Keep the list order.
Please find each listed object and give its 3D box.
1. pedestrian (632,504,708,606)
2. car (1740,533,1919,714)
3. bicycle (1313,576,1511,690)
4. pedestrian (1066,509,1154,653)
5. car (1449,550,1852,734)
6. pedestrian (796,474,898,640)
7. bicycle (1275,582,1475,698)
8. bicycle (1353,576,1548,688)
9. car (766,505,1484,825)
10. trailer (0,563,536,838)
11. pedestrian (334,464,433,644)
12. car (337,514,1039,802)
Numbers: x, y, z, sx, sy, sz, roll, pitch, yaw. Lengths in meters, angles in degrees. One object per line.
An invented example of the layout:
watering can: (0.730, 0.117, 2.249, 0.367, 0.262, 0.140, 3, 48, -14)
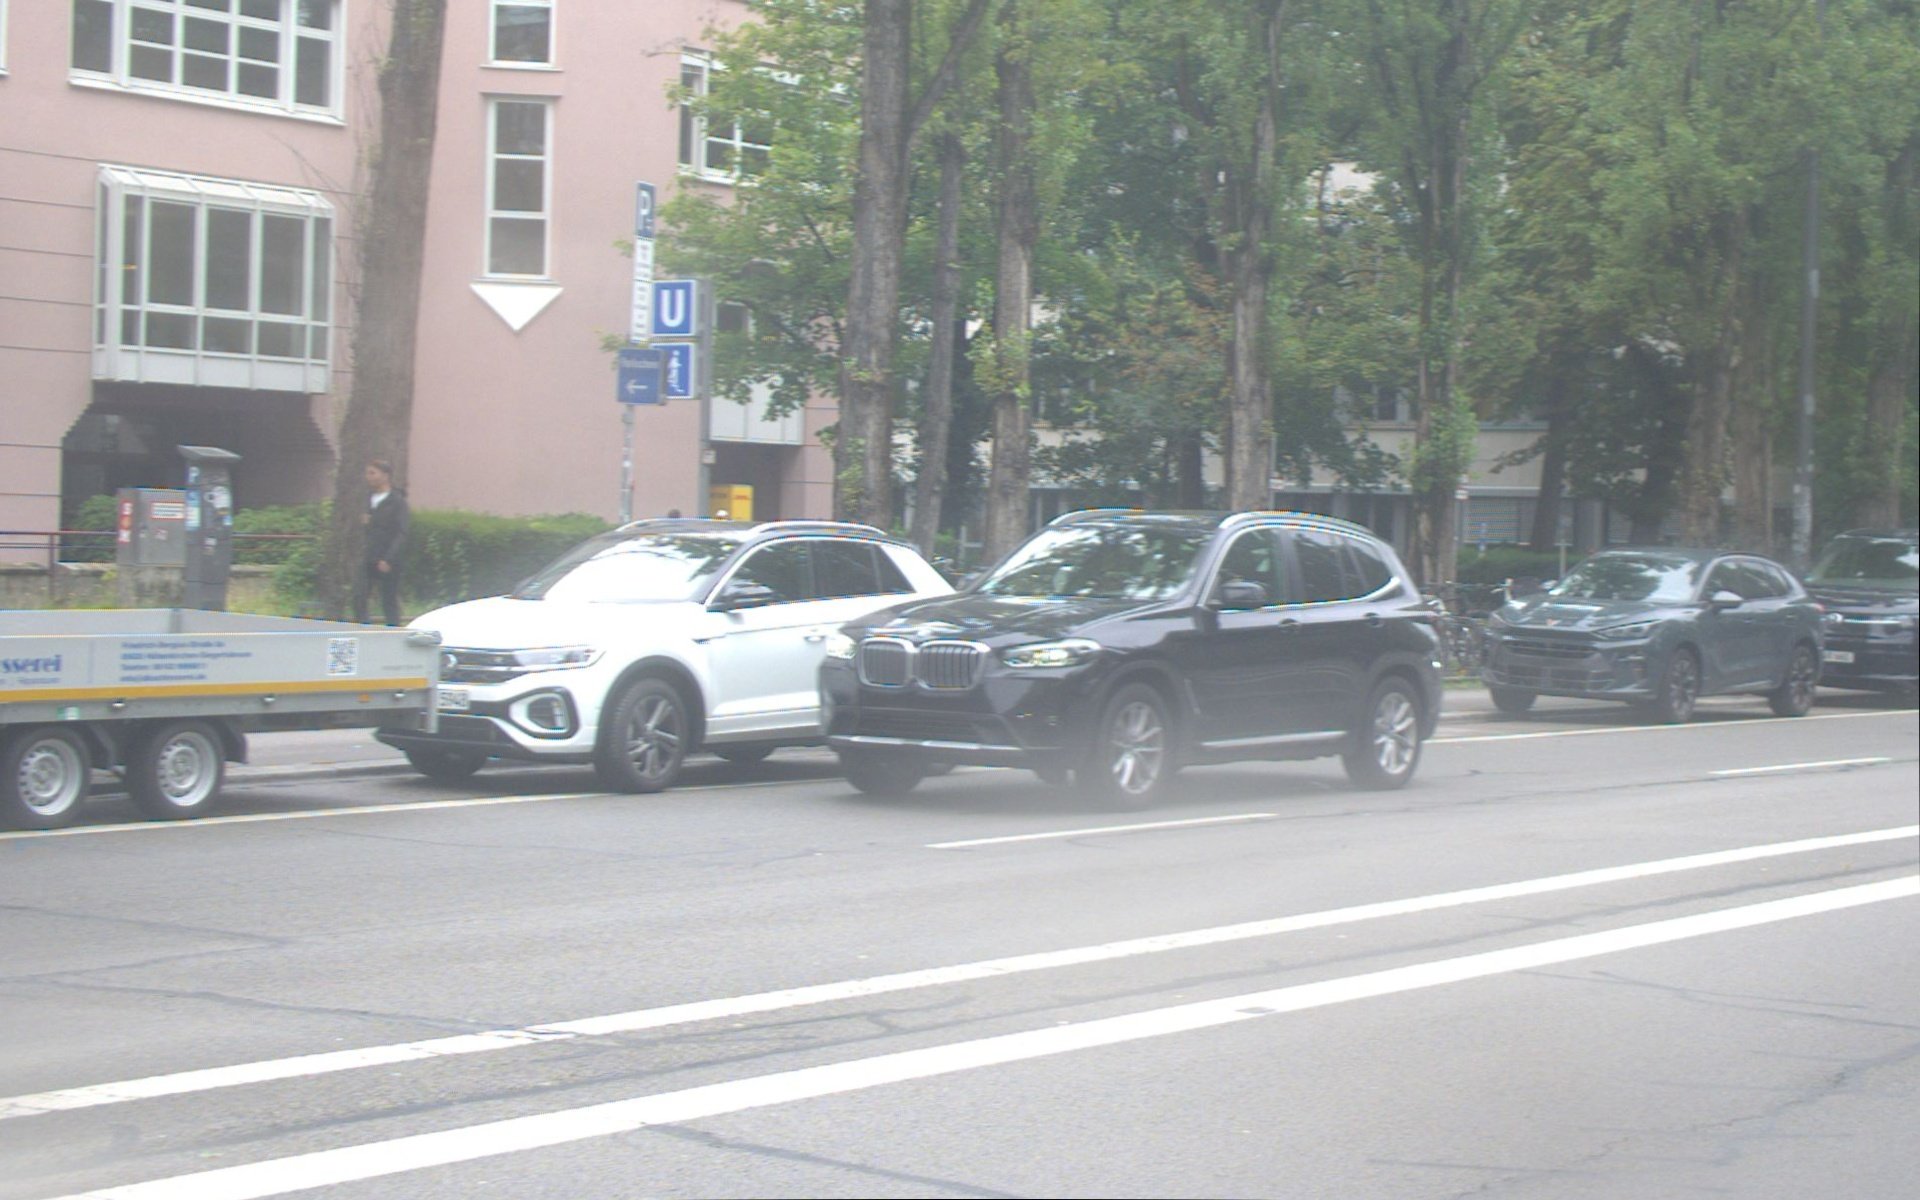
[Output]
pedestrian: (-4.833, -0.752, 57.264, 0.816, 1.656, 0.895, 3, 1, 37)
car: (10.461, 0.251, 37.621, 1.998, 1.791, 4.751, 3, 1, 36)
bicycle: (4.849, 0.347, 36.942, 1.987, 1.120, 0.674, 3, 1, 37)
pedestrian: (1.816, -0.226, 41.570, 0.708, 1.708, 0.730, 3, 1, 37)
car: (6.577, 0.381, 32.424, 1.998, 1.536, 4.315, 3, 1, 37)
pedestrian: (-1.193, -0.453, 36.335, 0.708, 1.708, 0.730, 3, 1, 37)
bicycle: (4.379, 0.412, 36.346, 1.987, 1.120, 0.674, 3, 1, 37)
bicycle: (5.351, 0.336, 37.577, 1.987, 1.120, 0.674, 3, 1, 37)
car: (1.097, 0.328, 20.186, 1.998, 1.637, 4.541, 2, 1, 36)
trailer: (-5.056, 0.438, 16.695, 2.402, 1.195, 6.025, 3, 1, 37)
pedestrian: (-5.212, -0.419, 31.097, 0.656, 1.599, 0.559, 2, 1, -34)
car: (-1.526, 0.306, 20.692, 1.804, 1.536, 4.225, 1, 1, 38)
